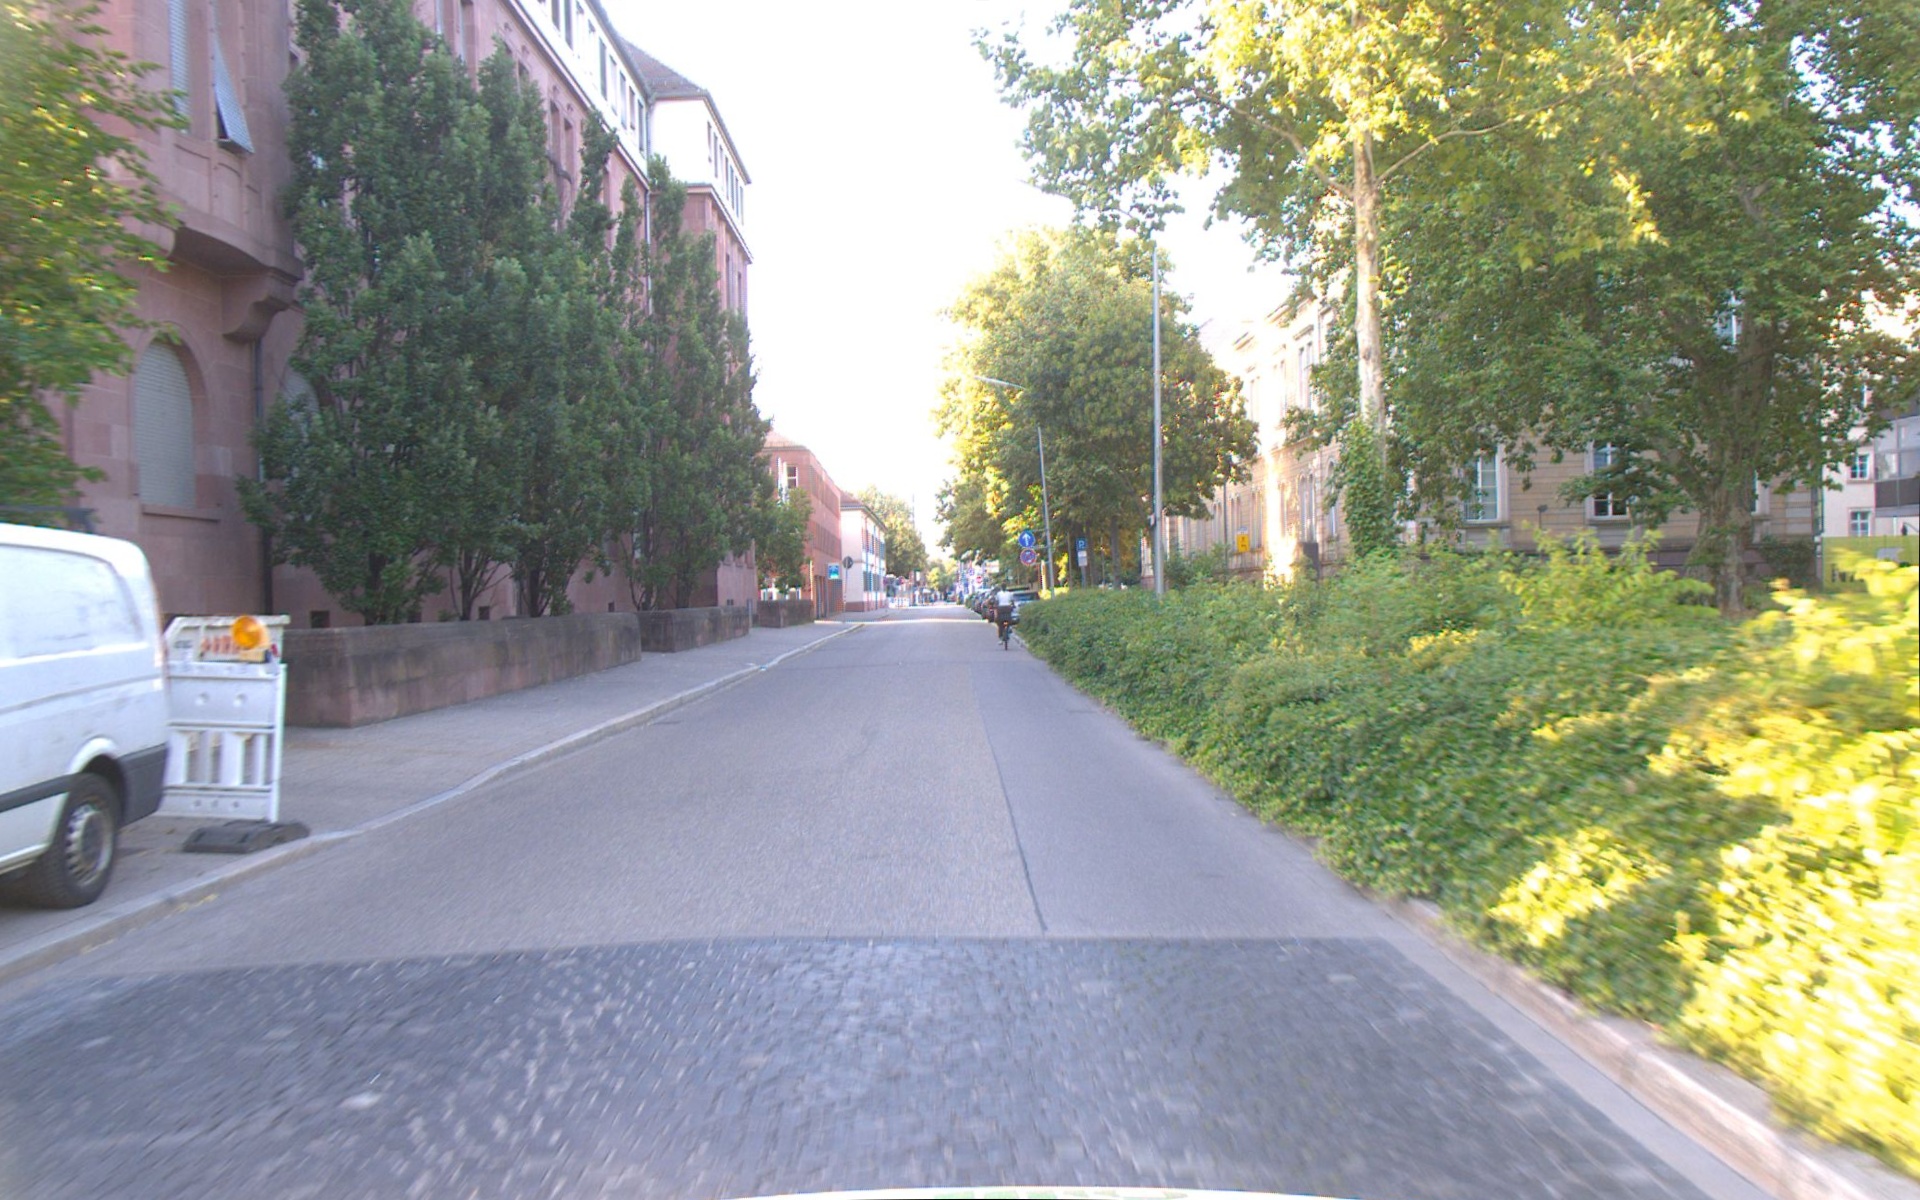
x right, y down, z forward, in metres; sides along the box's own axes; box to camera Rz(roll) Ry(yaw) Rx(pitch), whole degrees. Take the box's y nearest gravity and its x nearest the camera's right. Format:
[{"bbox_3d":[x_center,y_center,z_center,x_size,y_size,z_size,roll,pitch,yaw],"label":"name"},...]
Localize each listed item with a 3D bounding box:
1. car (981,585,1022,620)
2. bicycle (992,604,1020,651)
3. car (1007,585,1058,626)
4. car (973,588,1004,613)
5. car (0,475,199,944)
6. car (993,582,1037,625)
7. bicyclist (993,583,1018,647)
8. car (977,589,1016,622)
[{"bbox_3d":[1.987,0.111,79.587,1.681,1.564,4.047,-2,0,-2],"label":"car"},{"bbox_3d":[1.231,0.725,44.585,0.625,1.214,1.875,0,0,-2],"label":"bicycle"},{"bbox_3d":[2.869,0.237,65.977,1.652,1.472,3.670,-4,0,-2],"label":"car"},{"bbox_3d":[2.010,0.011,116.421,1.953,1.612,3.999,-2,0,-2],"label":"car"},{"bbox_3d":[-5.105,0.500,6.584,1.845,2.049,5.223,-2,0,-2],"label":"car"},{"bbox_3d":[2.354,0.129,71.729,1.680,1.742,4.473,-2,0,0],"label":"car"},{"bbox_3d":[1.227,0.395,44.594,0.626,1.696,0.842,0,0,-2],"label":"bicyclist"},{"bbox_3d":[2.077,0.296,95.288,1.953,1.735,3.999,-2,0,-2],"label":"car"}]
